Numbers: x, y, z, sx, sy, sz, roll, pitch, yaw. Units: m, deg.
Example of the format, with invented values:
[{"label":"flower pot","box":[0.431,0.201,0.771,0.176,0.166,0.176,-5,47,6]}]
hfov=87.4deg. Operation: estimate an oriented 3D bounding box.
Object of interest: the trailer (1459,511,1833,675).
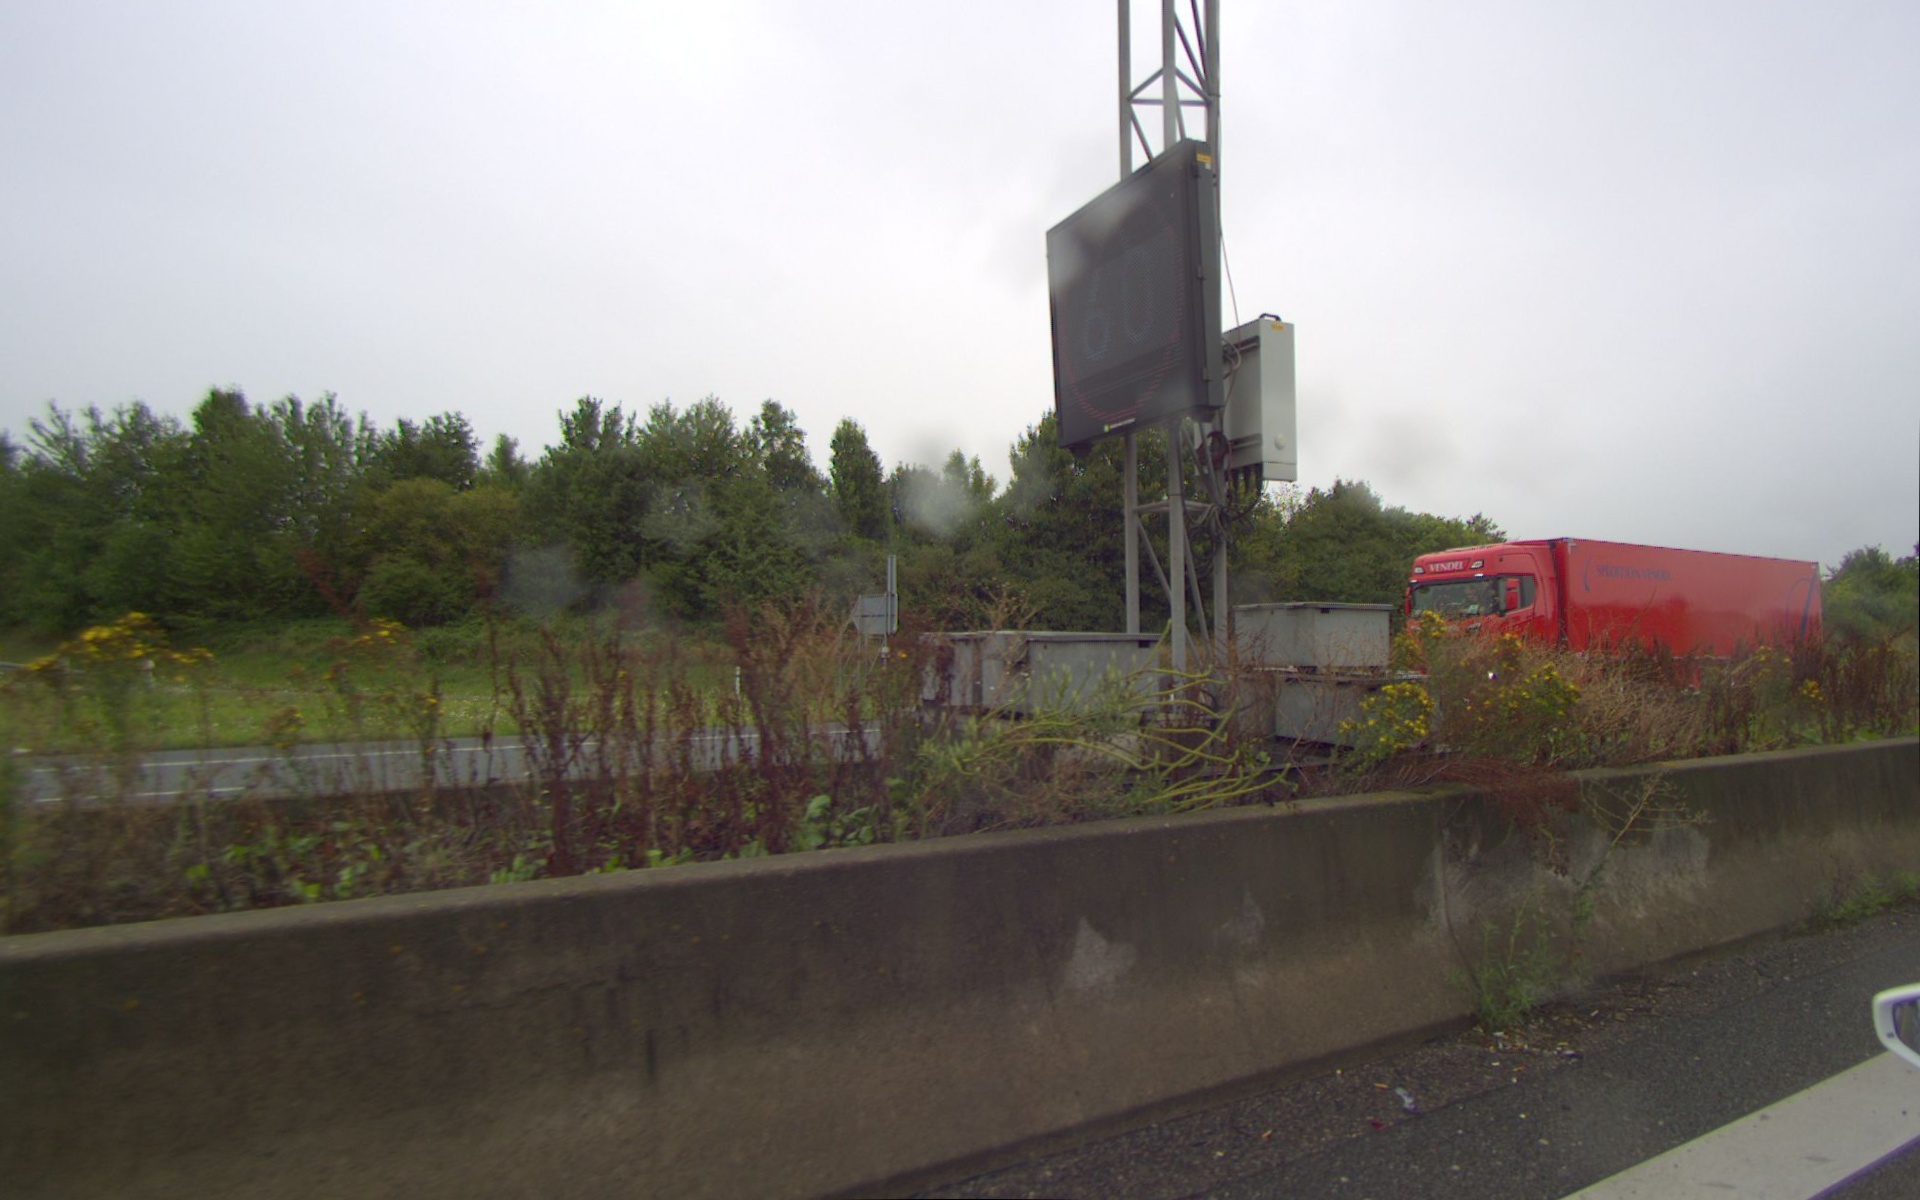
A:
[{"label":"trailer","box":[19.871,0.052,28.516,13.812,3.865,3.023,2,0,-30]}]

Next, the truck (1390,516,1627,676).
[{"label":"truck","box":[13.584,-0.024,24.898,4.868,3.578,3.010,2,0,-30]}]
